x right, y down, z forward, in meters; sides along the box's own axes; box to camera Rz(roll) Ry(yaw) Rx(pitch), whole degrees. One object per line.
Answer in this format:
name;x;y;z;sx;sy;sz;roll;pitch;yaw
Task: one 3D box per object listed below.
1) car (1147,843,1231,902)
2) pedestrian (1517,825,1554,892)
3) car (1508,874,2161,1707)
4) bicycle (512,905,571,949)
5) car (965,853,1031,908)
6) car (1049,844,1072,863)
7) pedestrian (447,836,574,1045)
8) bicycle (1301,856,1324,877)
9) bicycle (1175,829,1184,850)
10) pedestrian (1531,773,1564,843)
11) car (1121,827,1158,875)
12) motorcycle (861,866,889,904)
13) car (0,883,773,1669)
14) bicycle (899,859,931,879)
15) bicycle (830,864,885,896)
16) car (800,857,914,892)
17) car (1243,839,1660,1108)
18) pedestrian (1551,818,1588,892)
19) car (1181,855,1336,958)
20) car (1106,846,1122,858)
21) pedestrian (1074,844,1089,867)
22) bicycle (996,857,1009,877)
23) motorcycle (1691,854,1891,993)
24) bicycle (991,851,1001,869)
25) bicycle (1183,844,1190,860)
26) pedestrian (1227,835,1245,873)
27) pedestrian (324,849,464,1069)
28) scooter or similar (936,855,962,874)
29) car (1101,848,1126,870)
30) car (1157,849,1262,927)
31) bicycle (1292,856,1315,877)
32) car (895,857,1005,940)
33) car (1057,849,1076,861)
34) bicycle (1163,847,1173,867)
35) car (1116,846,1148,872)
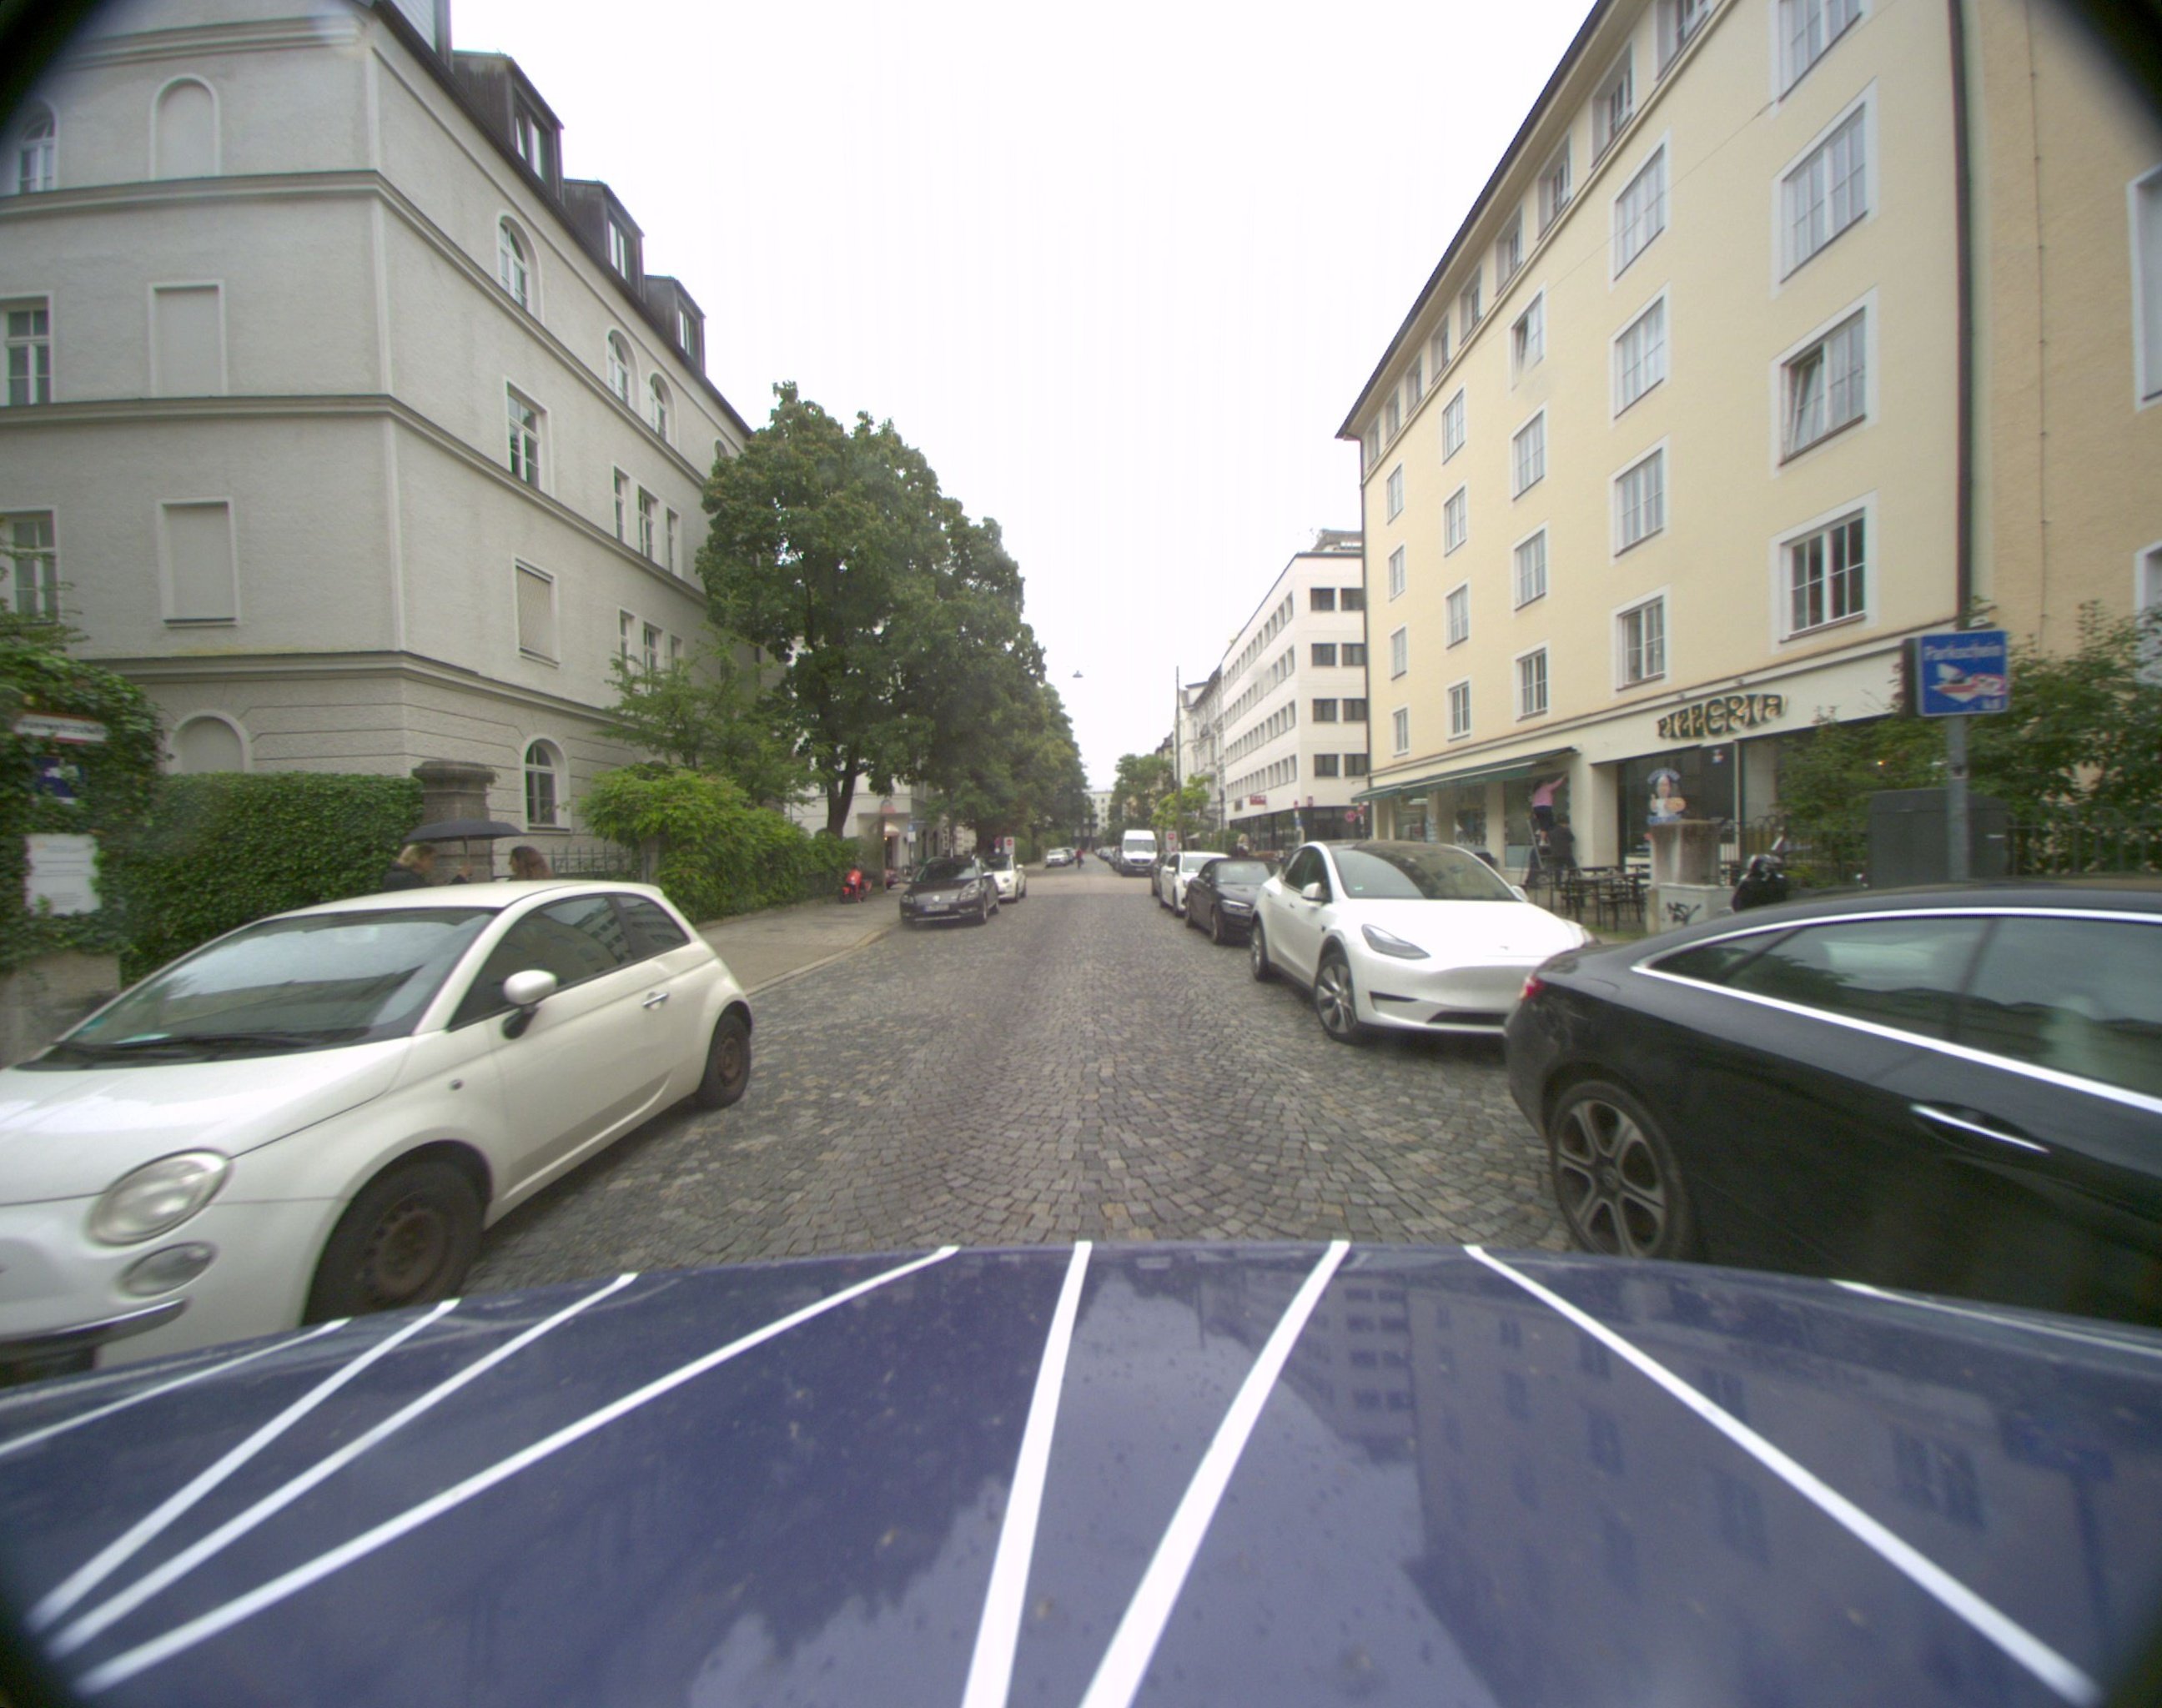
car;3.304;0.488;24.061;1.857;1.577;4.746;-2;1;-1
pedestrian;11.383;0.102;19.052;0.523;1.633;0.629;-2;2;0
car;2.669;0.878;0.983;1.778;1.421;4.390;-2;1;1
bicycle;-9.668;1.303;13.642;0.261;0.674;1.037;-1;1;2
car;-2.547;0.777;24.028;1.505;1.463;3.795;-2;1;2
car;-1.933;-0.091;73.151;1.925;1.676;4.633;-2;2;2
pedestrian;-5.267;0.764;7.054;0.577;1.839;0.682;-1;1;8
bicycle;11.602;0.600;38.115;0.398;0.963;1.893;-3;1;-5
bicycle;5.447;-0.813;42.054;0.256;1.120;1.806;-2;1;0
pedestrian;11.245;-1.092;18.327;0.478;1.633;0.497;-2;2;5
car;3.290;-0.214;43.684;1.981;2.559;5.793;0;1;3
motorcycle;-6.344;0.939;23.432;0.363;1.084;1.403;-2;1;3
car;-3.028;1.028;3.437;1.634;1.461;3.658;-4;1;1
bicycle;-9.278;0.825;42.538;1.605;1.064;0.738;0;5;4
bicycle;-8.176;0.939;27.761;1.841;1.118;0.563;-1;1;10
car;-9.903;0.908;33.692;4.476;1.350;1.761;-2;1;8
car;2.819;0.721;7.017;1.778;1.638;4.390;-2;1;2
pedestrian;11.401;0.016;17.759;0.462;1.681;0.574;-2;2;1
car;2.917;0.784;13.454;1.778;1.352;4.390;-2;1;2
car;4.210;-0.254;97.891;1.886;1.411;4.808;-1;1;0
pedestrian;0.074;0.129;60.457;1.105;1.768;1.263;-2;2;1
bicycle;-4.744;0.786;46.239;0.389;1.140;1.590;-2;2;8
motorcycle;6.950;0.617;7.544;0.492;1.187;1.579;-2;1;0
bicycle;-6.171;0.440;55.359;0.428;1.191;1.730;3;2;2
bicycle;8.135;-0.136;58.670;0.361;1.168;1.911;-2;1;3
pedestrian;7.634;-0.014;37.430;0.615;1.830;0.813;-2;2;-6
pedestrian;-6.005;0.866;6.684;0.630;1.798;0.659;-3;2;-22
scooter or similar;-8.280;0.648;47.550;1.604;1.166;0.405;-1;2;24
car;2.308;0.340;55.342;1.730;1.456;4.472;0;1;2
car;2.982;0.710;18.549;1.778;1.527;4.539;-2;1;1
bicycle;11.139;0.614;38.073;0.398;0.963;1.893;-3;1;-5
car;-2.891;0.918;17.755;1.652;1.414;4.631;-5;1;0
car;-1.687;0.080;84.932;1.924;1.290;4.807;-1;1;-3
bicycle;4.830;0.138;42.356;0.286;1.085;1.815;-2;1;-1
car;3.268;0.287;49.254;1.666;1.474;3.980;-2;1;-1
